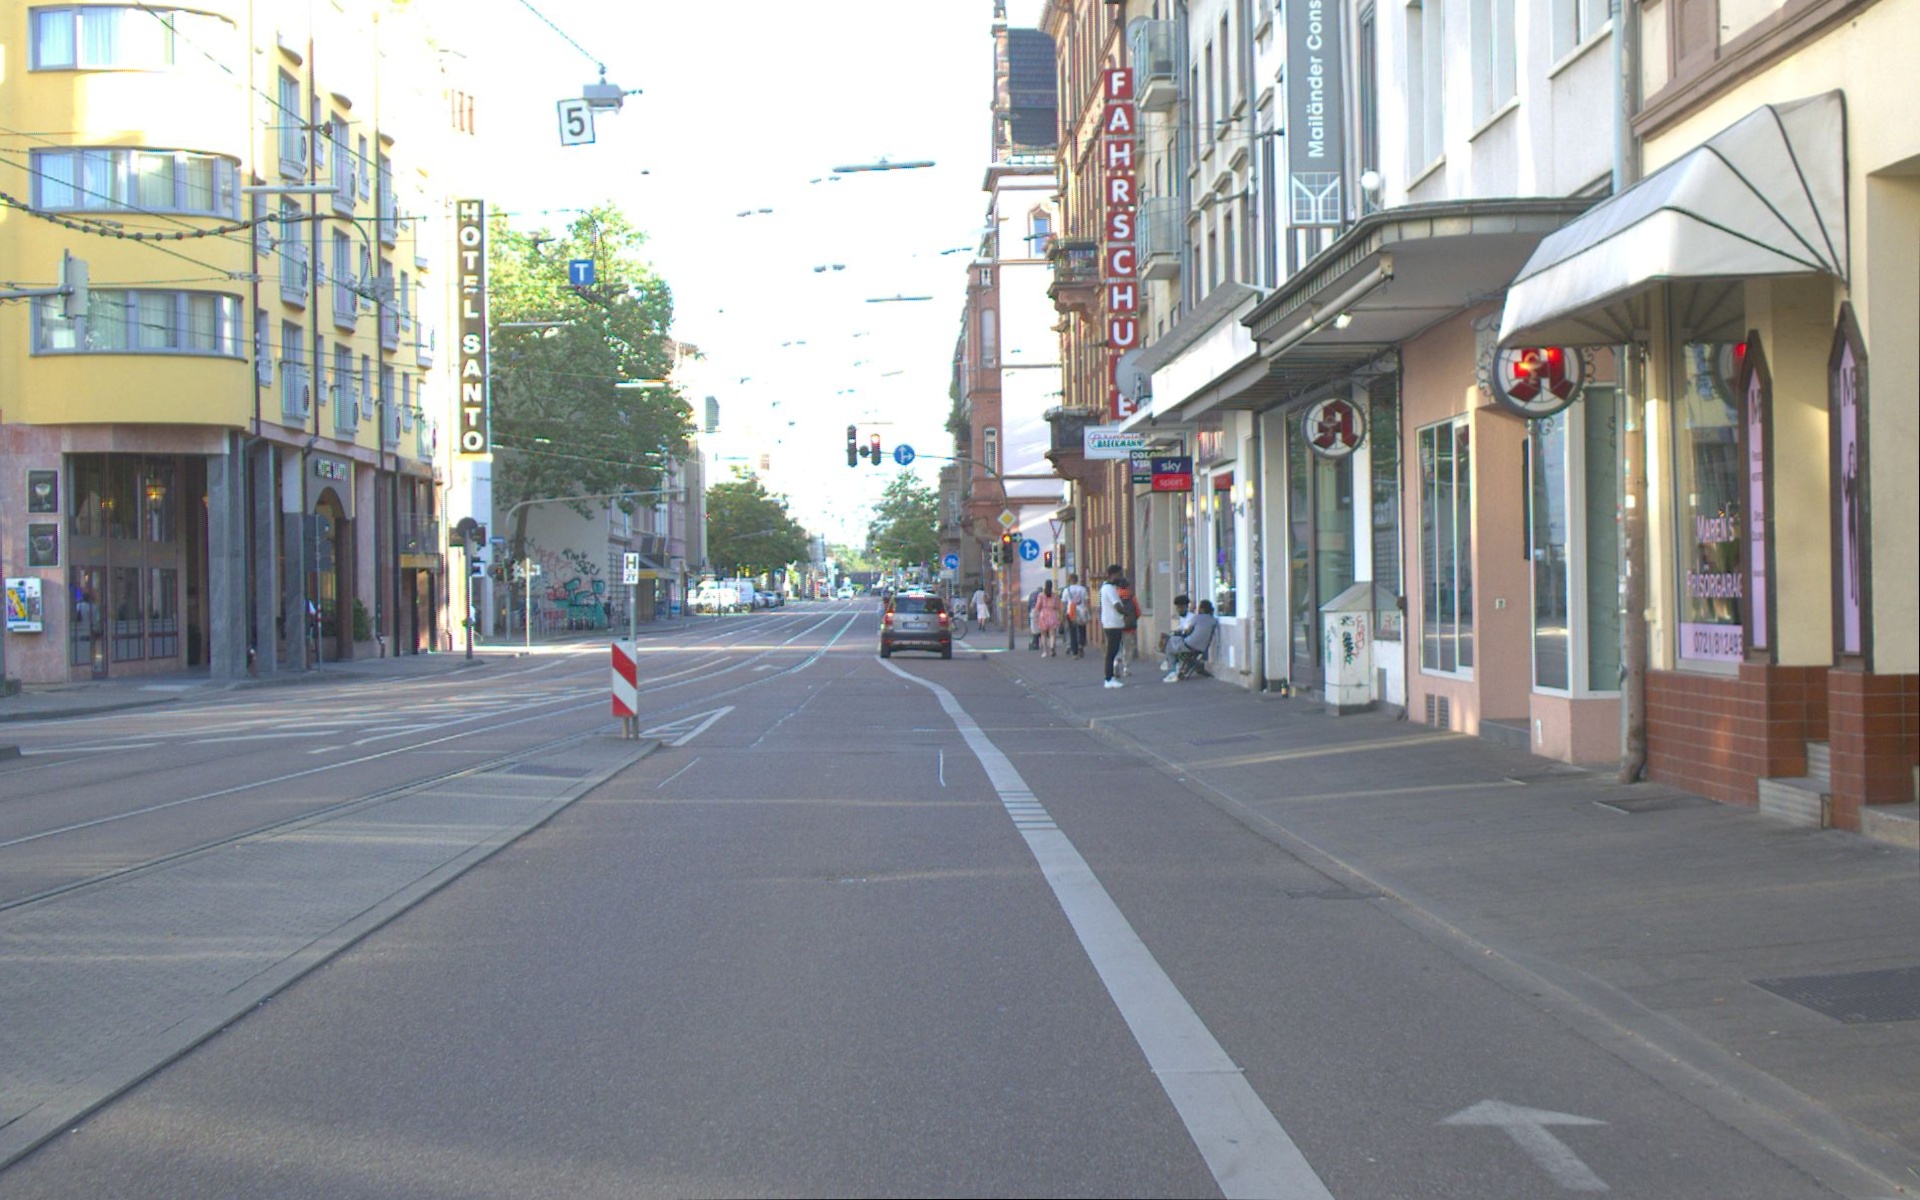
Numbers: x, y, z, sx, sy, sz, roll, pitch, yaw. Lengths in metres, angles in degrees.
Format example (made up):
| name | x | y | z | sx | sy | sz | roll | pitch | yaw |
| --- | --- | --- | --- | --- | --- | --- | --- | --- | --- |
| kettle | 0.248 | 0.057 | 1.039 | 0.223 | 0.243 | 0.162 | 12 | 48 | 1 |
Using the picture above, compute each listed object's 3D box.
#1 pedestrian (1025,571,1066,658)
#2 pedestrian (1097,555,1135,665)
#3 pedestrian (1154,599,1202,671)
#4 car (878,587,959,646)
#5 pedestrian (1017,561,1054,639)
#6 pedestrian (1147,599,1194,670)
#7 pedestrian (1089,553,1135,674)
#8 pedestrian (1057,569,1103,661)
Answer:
| name | x | y | z | sx | sy | sz | roll | pitch | yaw |
| --- | --- | --- | --- | --- | --- | --- | --- | --- | --- |
| pedestrian | 1.892 | 0.326 | 76.343 | 0.843 | 1.911 | 0.662 | -1 | 0 | -3 |
| pedestrian | 2.570 | 0.168 | 56.563 | 0.560 | 1.790 | 0.650 | -1 | 0 | 6 |
| pedestrian | 3.229 | 0.514 | 51.025 | 0.690 | 1.040 | 0.680 | -1 | 0 | 3 |
| car | -1.058 | 0.400 | 86.641 | 1.993 | 1.444 | 4.000 | 0 | 0 | -1 |
| pedestrian | 1.870 | -0.007 | 85.777 | 0.843 | 1.911 | 0.847 | -1 | 0 | -3 |
| pedestrian | 3.183 | 0.518 | 51.913 | 0.690 | 1.040 | 0.680 | -1 | 0 | 3 |
| pedestrian | 2.265 | 0.202 | 51.254 | 0.648 | 1.790 | 0.561 | -1 | 0 | 3 |
| pedestrian | 2.500 | 0.310 | 71.906 | 0.848 | 1.911 | 1.035 | -1 | 0 | -3 |
